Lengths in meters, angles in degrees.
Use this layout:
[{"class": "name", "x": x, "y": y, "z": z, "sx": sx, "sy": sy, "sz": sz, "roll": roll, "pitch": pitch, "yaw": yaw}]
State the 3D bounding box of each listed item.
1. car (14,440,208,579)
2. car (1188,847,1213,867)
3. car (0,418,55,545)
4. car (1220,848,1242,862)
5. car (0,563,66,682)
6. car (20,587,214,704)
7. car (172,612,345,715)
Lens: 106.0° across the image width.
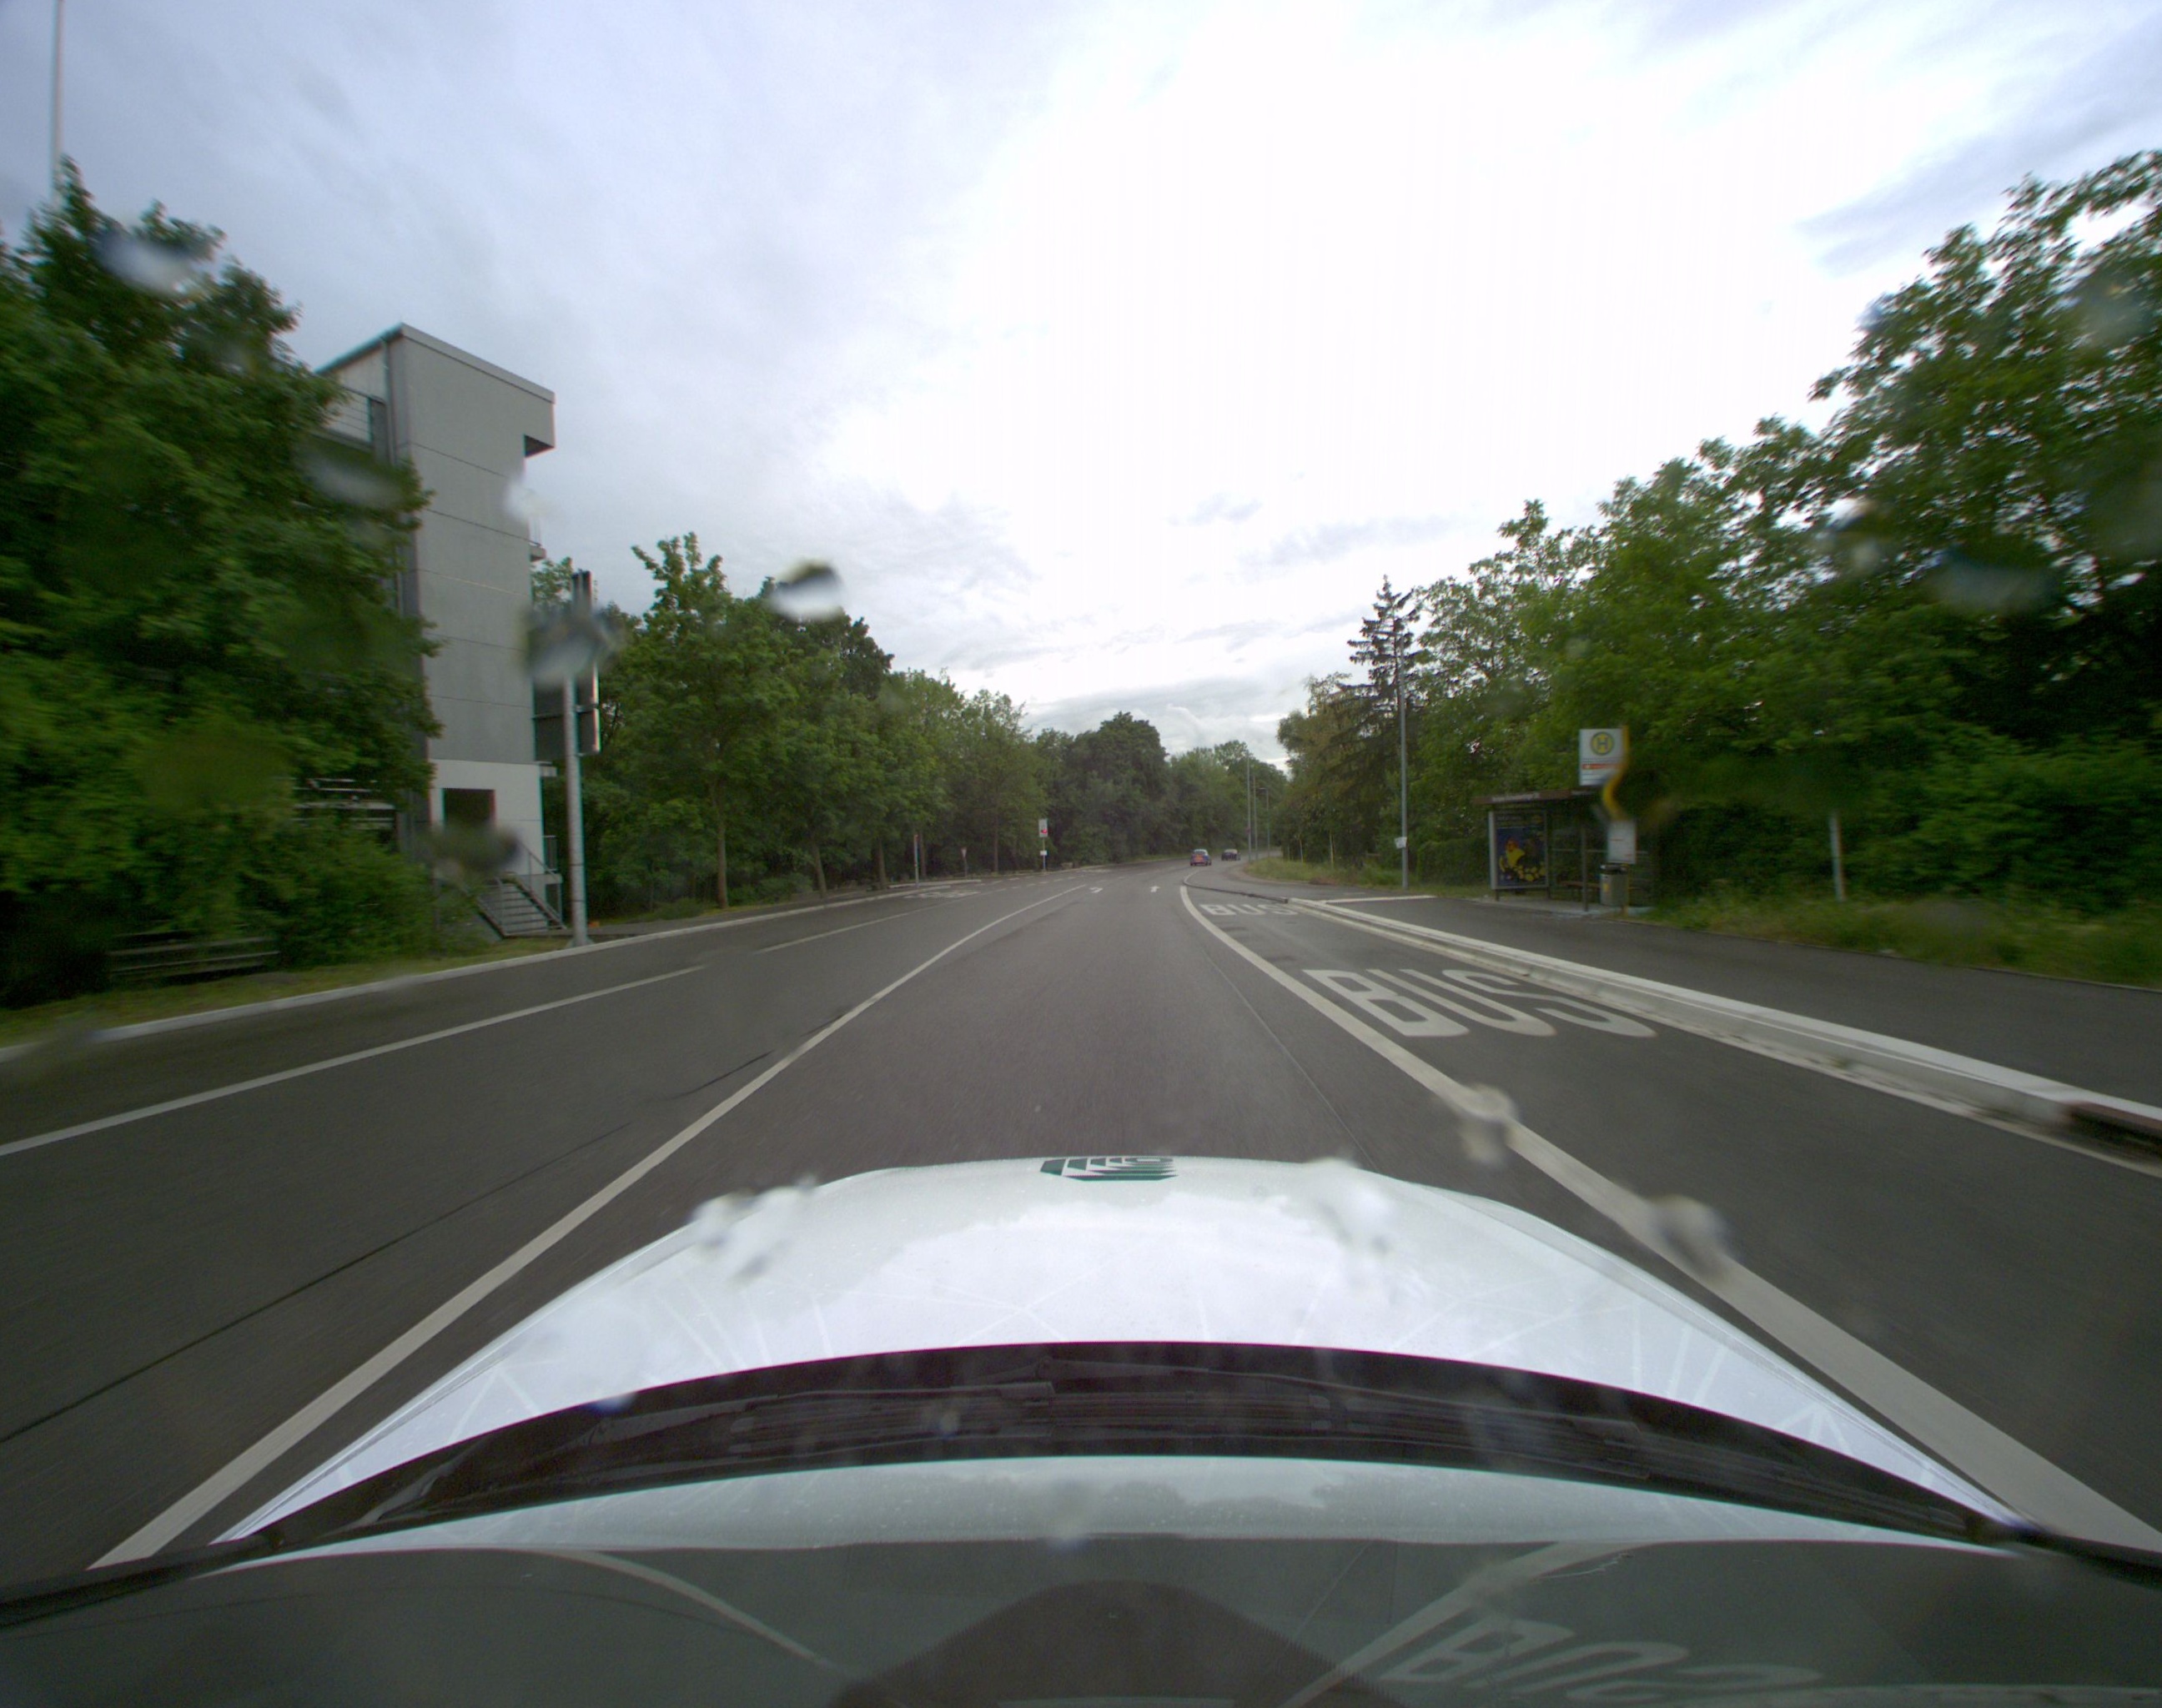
[{"class": "car", "x": -19.528, "y": -6.834, "z": 16.408, "sx": 3.204, "sy": 1.519, "sz": 1.595, "roll": -3, "pitch": 0, "yaw": 23}, {"class": "car", "x": 11.806, "y": 0.260, "z": 80.452, "sx": 1.979, "sy": 1.689, "sz": 4.016, "roll": -3, "pitch": 2, "yaw": 14}, {"class": "car", "x": -20.254, "y": -6.705, "z": 14.522, "sx": 3.204, "sy": 1.519, "sz": 1.595, "roll": -3, "pitch": 0, "yaw": 23}, {"class": "car", "x": 18.457, "y": 0.099, "z": 100.190, "sx": 1.911, "sy": 1.486, "sz": 3.819, "roll": -3, "pitch": 2, "yaw": 20}, {"class": "car", "x": -19.900, "y": -4.118, "z": 14.398, "sx": 3.204, "sy": 1.519, "sz": 1.595, "roll": -3, "pitch": 0, "yaw": 23}, {"class": "car", "x": -19.368, "y": -4.090, "z": 16.372, "sx": 3.204, "sy": 1.519, "sz": 1.595, "roll": -3, "pitch": 0, "yaw": 23}, {"class": "car", "x": -18.314, "y": -4.169, "z": 18.146, "sx": 3.204, "sy": 1.519, "sz": 1.595, "roll": -3, "pitch": 0, "yaw": 23}]
